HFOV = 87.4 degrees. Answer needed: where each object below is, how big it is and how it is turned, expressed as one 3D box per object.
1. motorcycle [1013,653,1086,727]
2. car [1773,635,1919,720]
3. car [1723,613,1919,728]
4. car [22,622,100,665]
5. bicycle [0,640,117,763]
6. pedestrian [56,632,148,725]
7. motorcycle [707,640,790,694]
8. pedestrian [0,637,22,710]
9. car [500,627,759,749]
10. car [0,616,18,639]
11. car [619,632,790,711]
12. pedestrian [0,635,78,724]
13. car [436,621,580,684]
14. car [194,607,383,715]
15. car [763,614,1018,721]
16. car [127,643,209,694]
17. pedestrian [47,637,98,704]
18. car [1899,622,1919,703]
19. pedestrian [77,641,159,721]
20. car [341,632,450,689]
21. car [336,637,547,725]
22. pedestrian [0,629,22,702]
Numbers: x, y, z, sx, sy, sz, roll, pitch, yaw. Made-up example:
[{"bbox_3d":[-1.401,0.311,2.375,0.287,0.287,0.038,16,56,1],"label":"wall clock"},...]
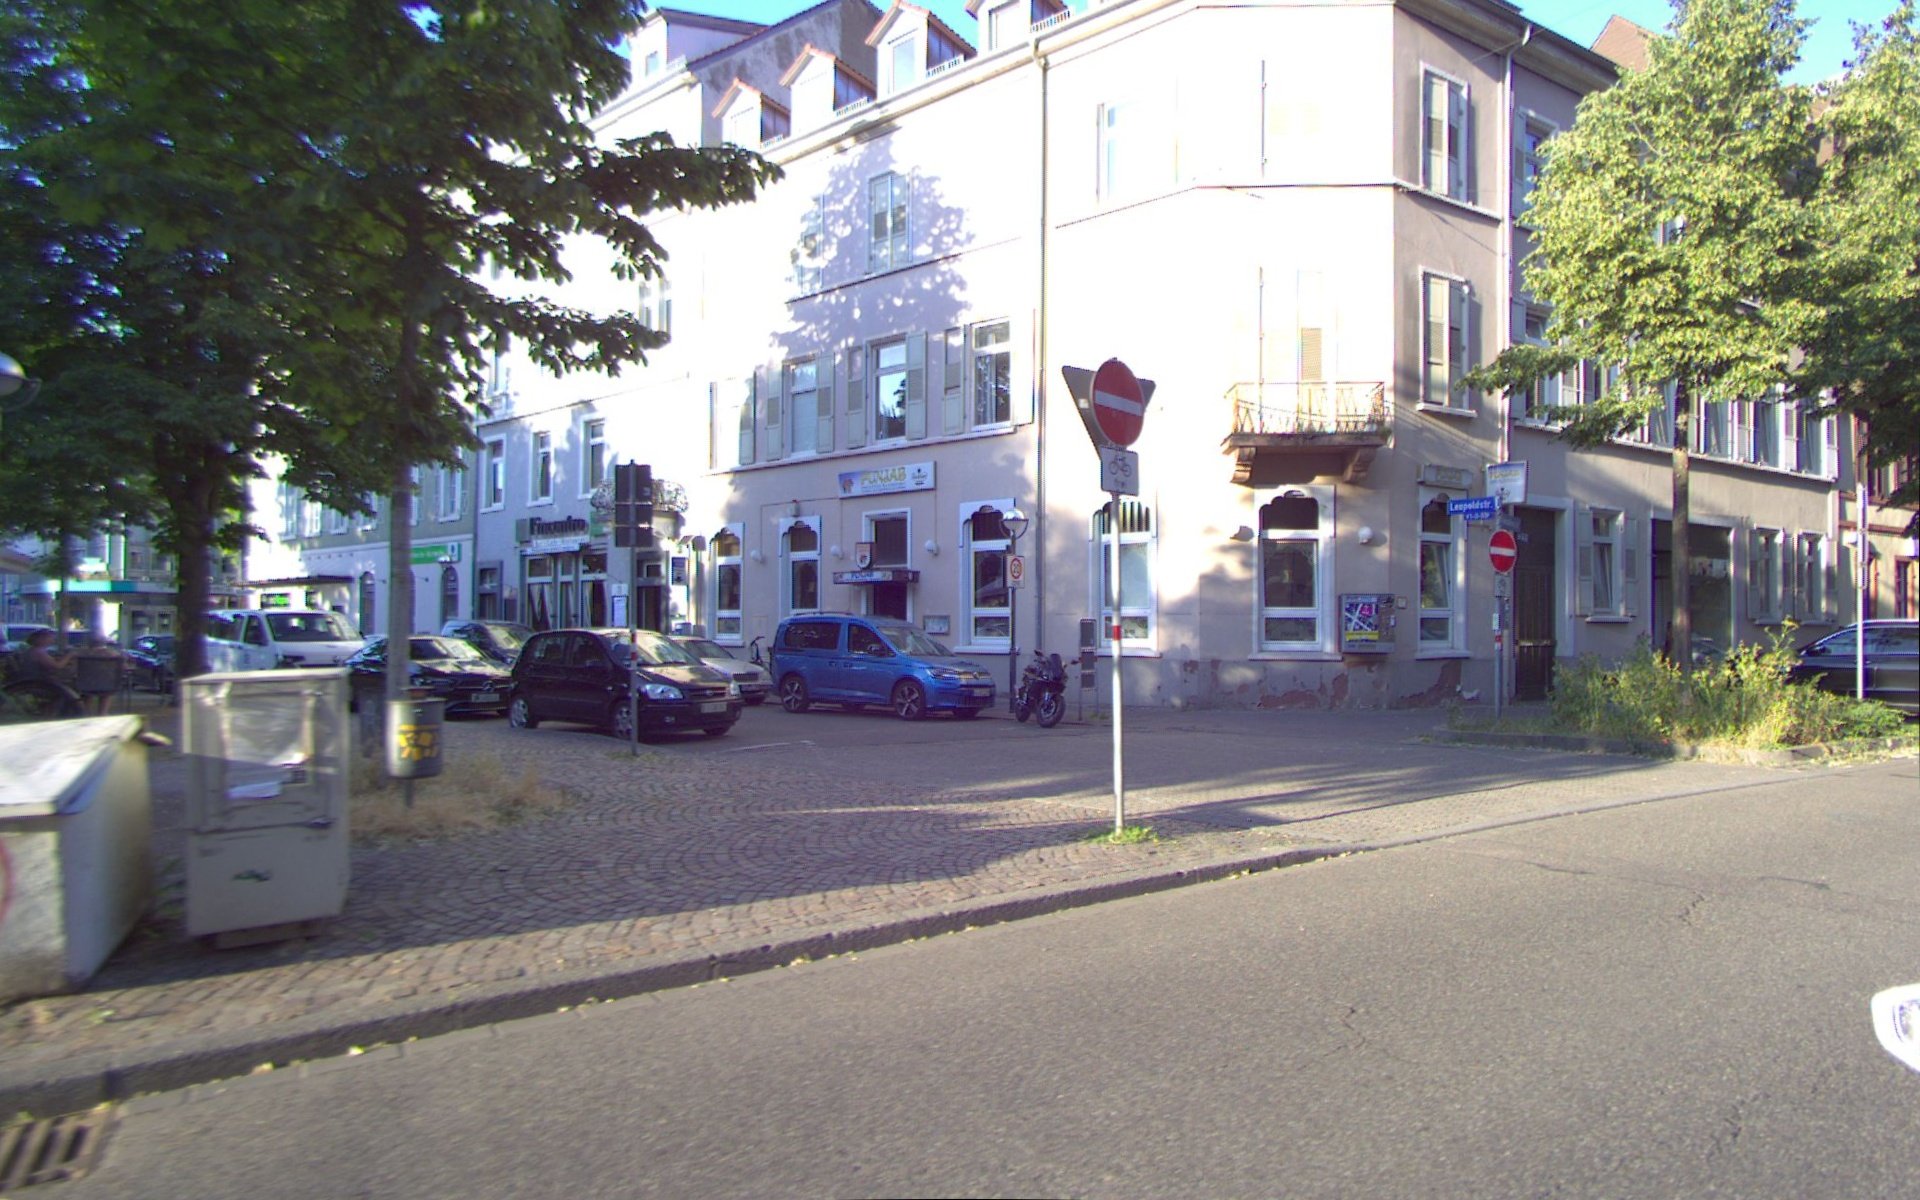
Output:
[{"bbox_3d":[1.428,1.431,16.417,0.733,1.044,2.096,1,-1,-7],"label":"motorcycle"},{"bbox_3d":[17.885,1.435,18.623,1.809,1.463,4.014,1,-1,-29],"label":"car"},{"bbox_3d":[16.232,1.178,17.370,2.009,1.859,4.429,1,-1,-29],"label":"car"},{"bbox_3d":[-36.417,1.717,40.675,3.323,1.615,1.749,0,-1,37],"label":"car"},{"bbox_3d":[-8.822,0.914,9.106,1.781,1.082,0.360,1,0,-18],"label":"bicycle"},{"bbox_3d":[-11.711,1.060,13.745,0.842,1.215,0.790,1,-3,-34],"label":"pedestrian"},{"bbox_3d":[-5.105,1.588,24.183,2.291,1.202,0.682,0,-2,41],"label":"motorcycle"},{"bbox_3d":[-15.922,1.207,16.540,0.518,1.189,0.533,0,-3,-22],"label":"pedestrian"},{"bbox_3d":[-4.618,1.113,13.895,3.468,1.399,1.700,0,-1,36],"label":"car"},{"bbox_3d":[-59.924,1.681,62.186,3.668,1.350,1.896,-1,-2,40],"label":"car"},{"bbox_3d":[-5.409,1.432,21.086,3.778,1.430,1.534,0,-1,39],"label":"car"},{"bbox_3d":[-12.817,1.084,13.870,0.842,1.173,0.790,1,-3,-34],"label":"pedestrian"},{"bbox_3d":[-11.748,1.304,26.043,3.920,1.459,1.831,0,-1,39],"label":"car"},{"bbox_3d":[-14.353,1.181,21.373,4.757,2.013,2.034,0,-1,39],"label":"car"},{"bbox_3d":[-1.315,1.115,18.120,4.360,1.699,1.954,0,-1,35],"label":"car"},{"bbox_3d":[-19.405,1.655,24.592,2.444,1.104,1.070,0,-1,39],"label":"car"},{"bbox_3d":[-16.066,1.270,18.198,0.518,1.189,0.533,0,-3,-22],"label":"pedestrian"},{"bbox_3d":[22.130,1.353,20.528,1.811,1.731,3.972,1,-1,-29],"label":"car"},{"bbox_3d":[-12.652,1.199,15.127,0.842,1.146,0.790,1,-3,-34],"label":"pedestrian"},{"bbox_3d":[-16.767,1.743,29.771,3.560,1.501,1.605,0,-1,39],"label":"car"},{"bbox_3d":[-9.057,1.329,17.480,3.711,1.254,1.824,0,-1,37],"label":"car"},{"bbox_3d":[-17.235,1.163,17.926,0.519,1.292,0.533,2,-3,-22],"label":"pedestrian"}]
